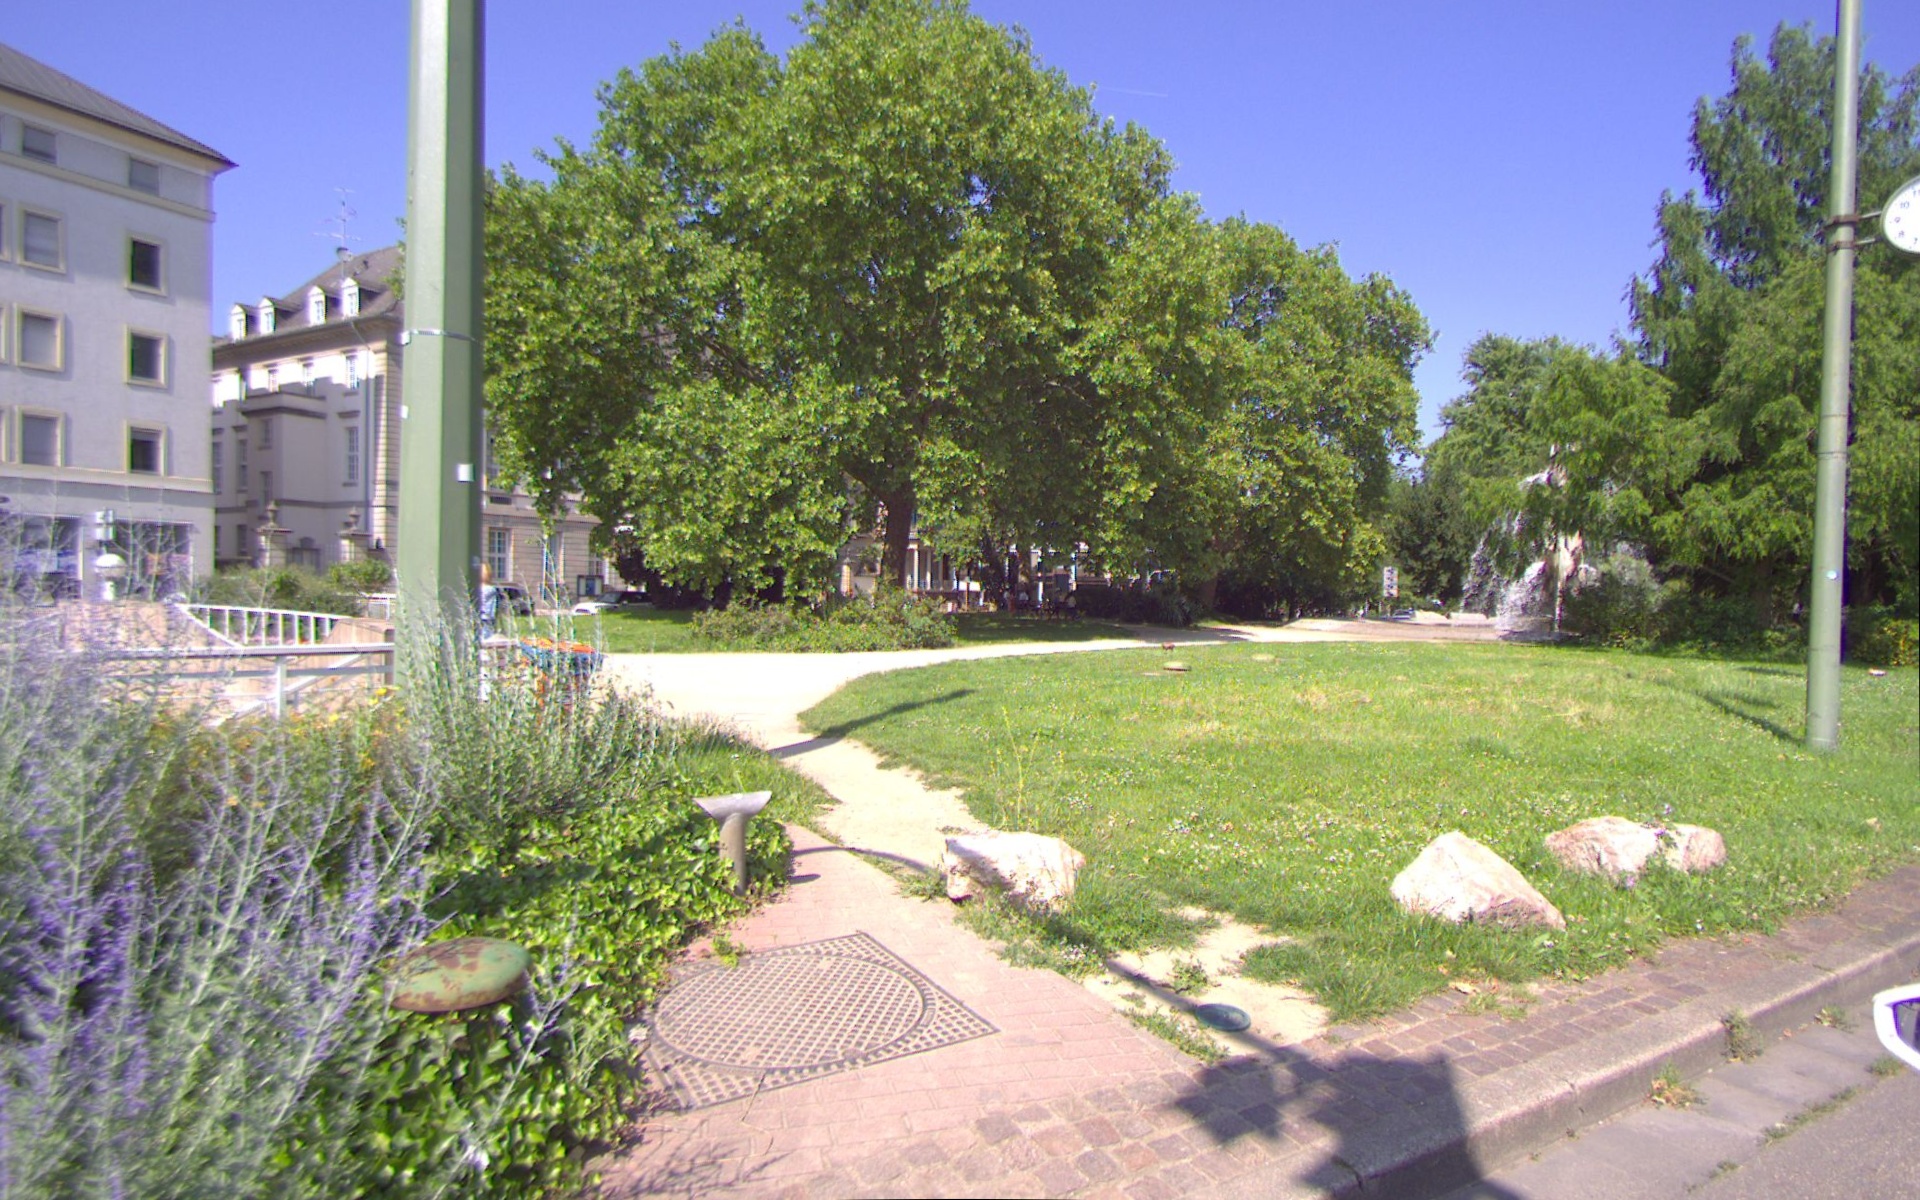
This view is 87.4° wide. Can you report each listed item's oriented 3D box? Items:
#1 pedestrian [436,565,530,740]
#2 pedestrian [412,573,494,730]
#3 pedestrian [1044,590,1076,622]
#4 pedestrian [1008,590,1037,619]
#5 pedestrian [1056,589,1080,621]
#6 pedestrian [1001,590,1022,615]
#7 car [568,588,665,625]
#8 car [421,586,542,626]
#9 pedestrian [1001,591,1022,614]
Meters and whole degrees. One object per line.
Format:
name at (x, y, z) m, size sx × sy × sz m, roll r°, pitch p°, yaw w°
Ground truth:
pedestrian at (-4.627, 0.480, 9.743) m, size 0.682 × 1.614 × 0.597 m, roll 2°, pitch 1°, yaw 42°
pedestrian at (-5.186, 0.499, 10.264) m, size 0.839 × 1.530 × 0.472 m, roll 2°, pitch 1°, yaw 42°
pedestrian at (4.052, 0.235, 40.776) m, size 1.042 × 1.242 × 0.753 m, roll 1°, pitch 1°, yaw -20°
pedestrian at (2.822, 0.208, 45.318) m, size 1.042 × 1.242 × 0.753 m, roll 1°, pitch 1°, yaw -20°
pedestrian at (4.317, 0.215, 40.024) m, size 0.660 × 1.242 × 0.753 m, roll 1°, pitch 1°, yaw -20°
pedestrian at (2.748, 0.130, 53.430) m, size 1.038 × 1.242 × 0.756 m, roll 1°, pitch 1°, yaw -3°
car at (-13.886, 0.259, 40.806) m, size 1.582 × 1.397 × 3.579 m, roll 2°, pitch 1°, yaw 29°
car at (-16.670, 0.192, 35.142) m, size 1.582 × 1.286 × 3.579 m, roll 2°, pitch 1°, yaw 29°
pedestrian at (2.754, 0.135, 54.268) m, size 1.038 × 1.242 × 0.756 m, roll 1°, pitch 1°, yaw -3°
